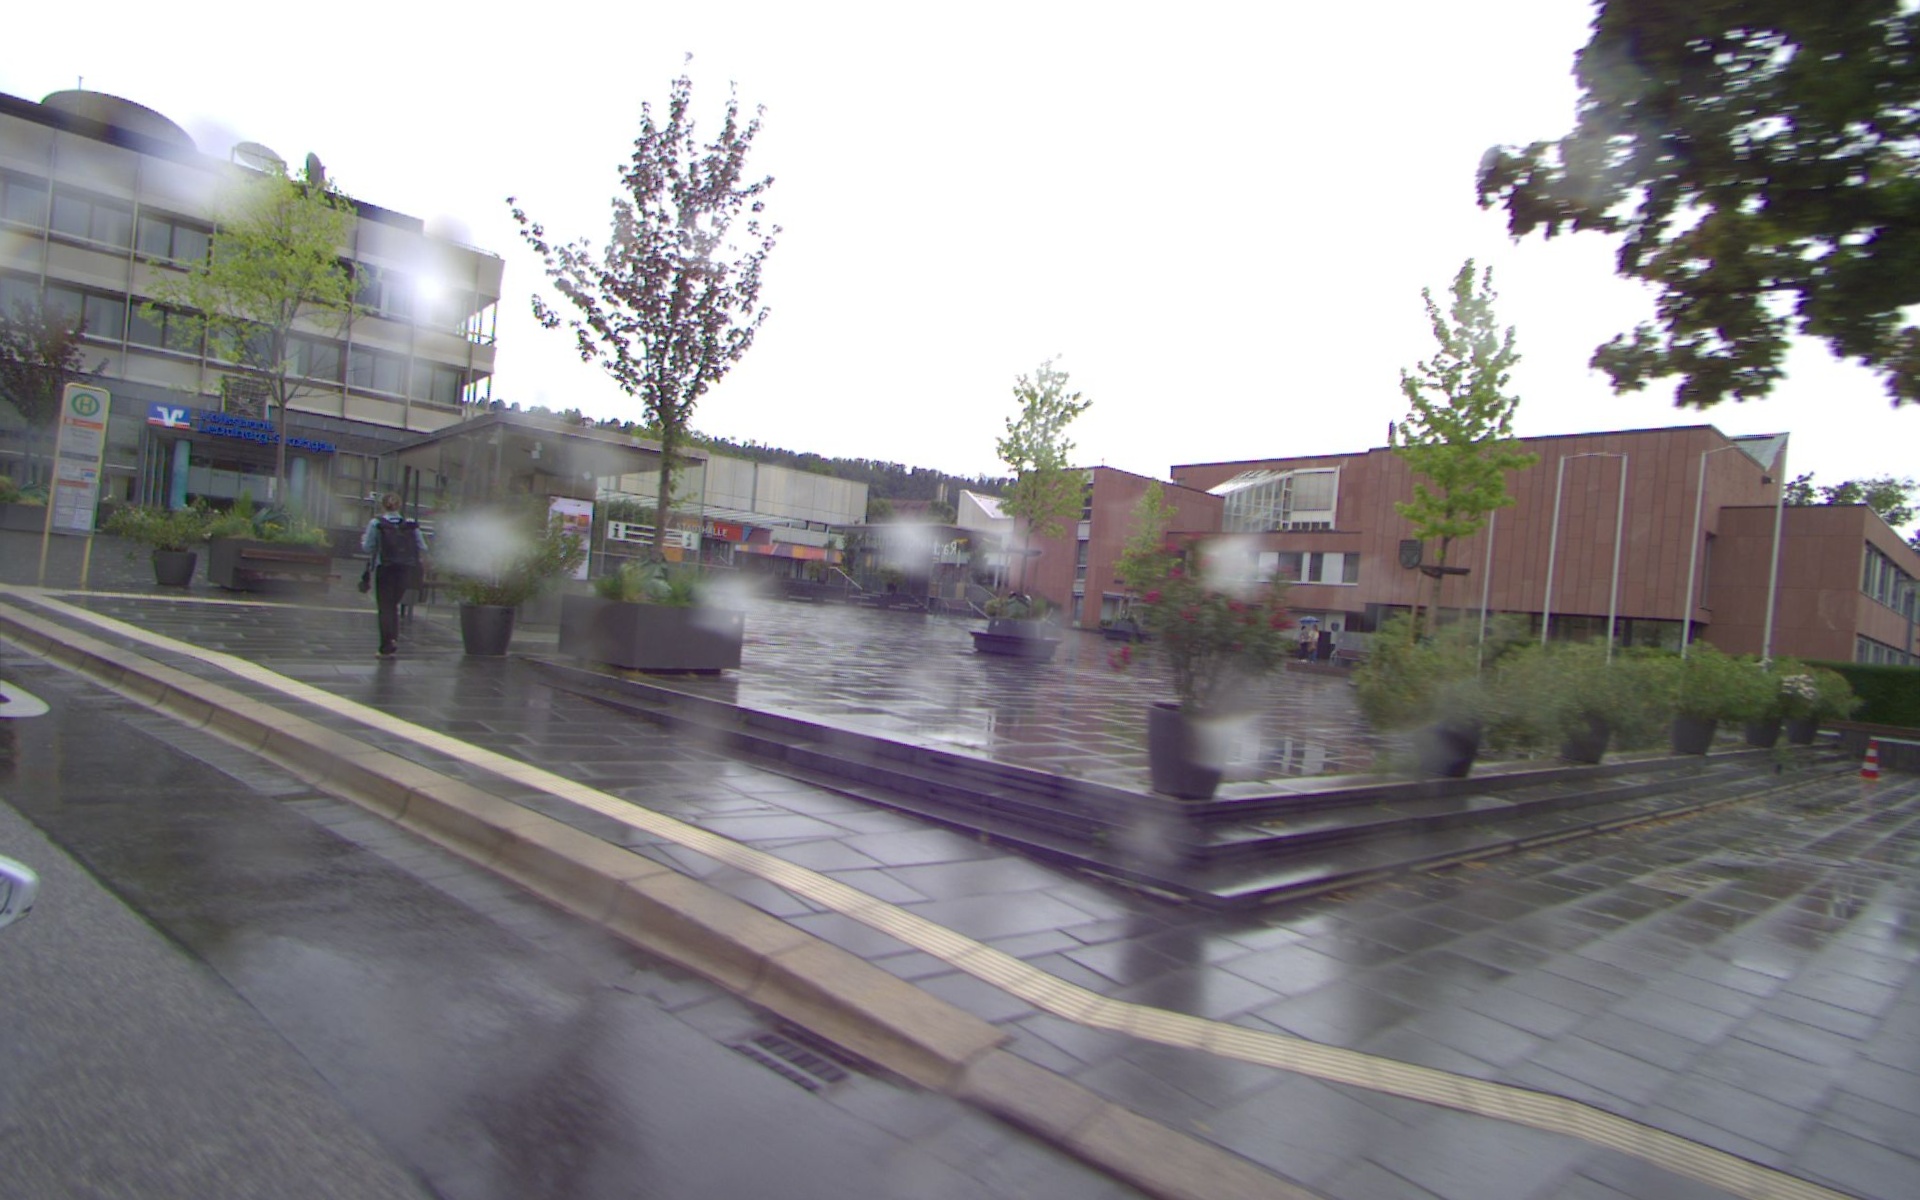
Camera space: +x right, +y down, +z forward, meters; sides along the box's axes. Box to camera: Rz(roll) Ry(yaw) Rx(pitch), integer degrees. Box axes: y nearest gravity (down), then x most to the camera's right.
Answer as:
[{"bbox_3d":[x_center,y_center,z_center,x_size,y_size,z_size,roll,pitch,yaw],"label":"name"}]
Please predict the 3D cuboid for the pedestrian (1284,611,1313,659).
[{"bbox_3d":[15.087,1.544,44.847,0.847,2.040,0.731,5,1,-6],"label":"pedestrian"}]

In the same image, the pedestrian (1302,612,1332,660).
[{"bbox_3d":[16.015,1.614,45.122,0.847,2.040,0.731,5,1,-6],"label":"pedestrian"}]

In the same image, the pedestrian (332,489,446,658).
[{"bbox_3d":[-5.868,-0.264,10.346,0.684,1.638,0.727,6,2,39],"label":"pedestrian"}]
